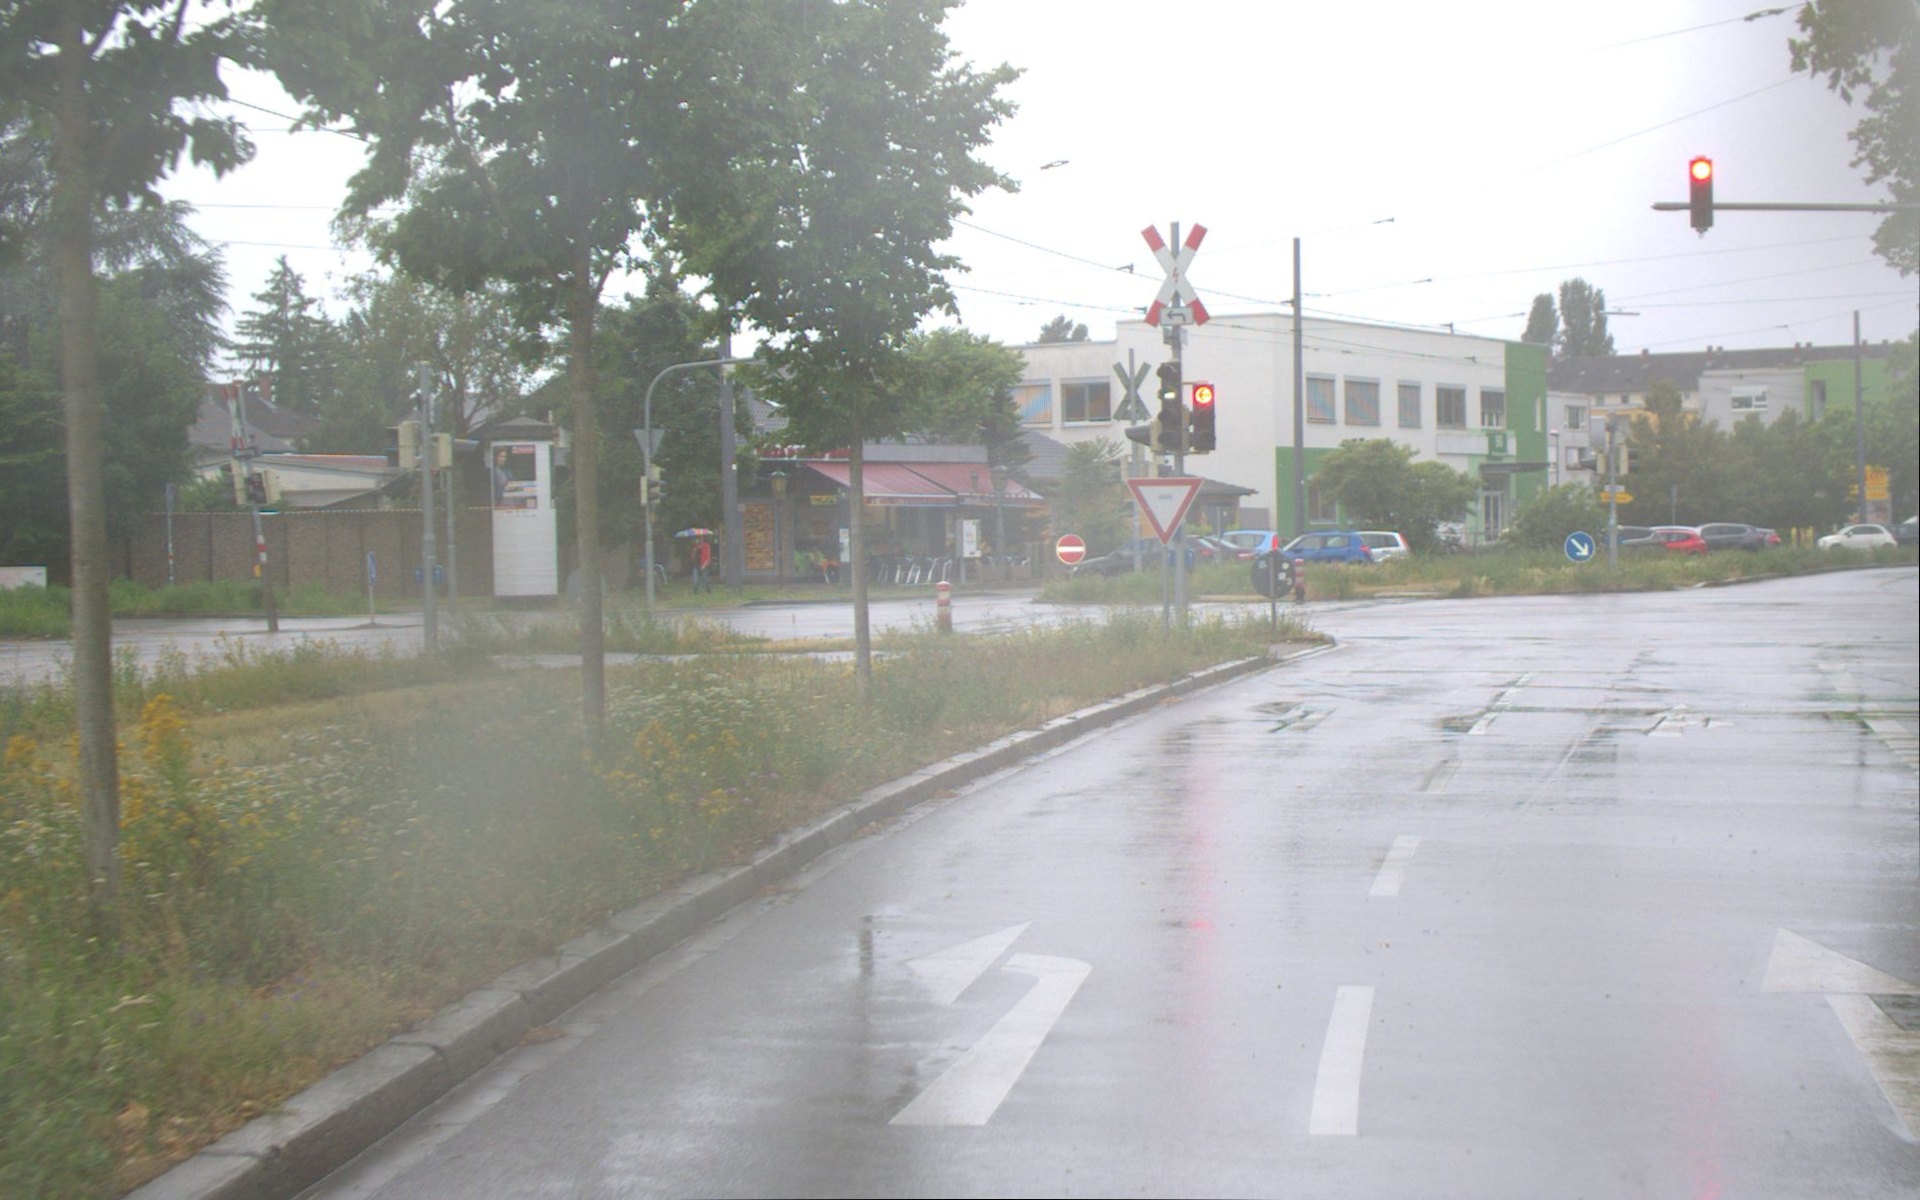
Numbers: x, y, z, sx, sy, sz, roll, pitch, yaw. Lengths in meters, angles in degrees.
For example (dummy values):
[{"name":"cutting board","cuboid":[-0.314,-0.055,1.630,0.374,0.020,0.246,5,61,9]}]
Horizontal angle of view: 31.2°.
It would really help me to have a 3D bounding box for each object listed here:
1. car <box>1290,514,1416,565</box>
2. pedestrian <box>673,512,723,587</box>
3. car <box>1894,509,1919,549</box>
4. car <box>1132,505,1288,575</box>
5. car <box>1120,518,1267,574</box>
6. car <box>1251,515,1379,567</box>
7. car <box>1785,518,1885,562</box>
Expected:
[{"name":"car","cuboid":[12.046,-1.861,105.599,3.751,1.437,1.762,-1,1,5]},{"name":"pedestrian","cuboid":[-6.265,-1.208,82.230,0.800,1.757,0.909,-2,1,-33]},{"name":"car","cuboid":[48.572,-3.564,170.728,4.138,1.969,1.672,-1,1,18]},{"name":"car","cuboid":[7.152,-1.714,98.198,4.138,1.853,1.672,-1,1,18]},{"name":"car","cuboid":[6.454,-1.500,94.815,3.752,1.437,1.761,-1,1,14]},{"name":"car","cuboid":[10.572,-1.750,102.550,3.751,1.437,1.762,-1,1,5]},{"name":"car","cuboid":[39.285,-2.707,154.394,4.136,1.853,1.673,-1,1,7]}]
